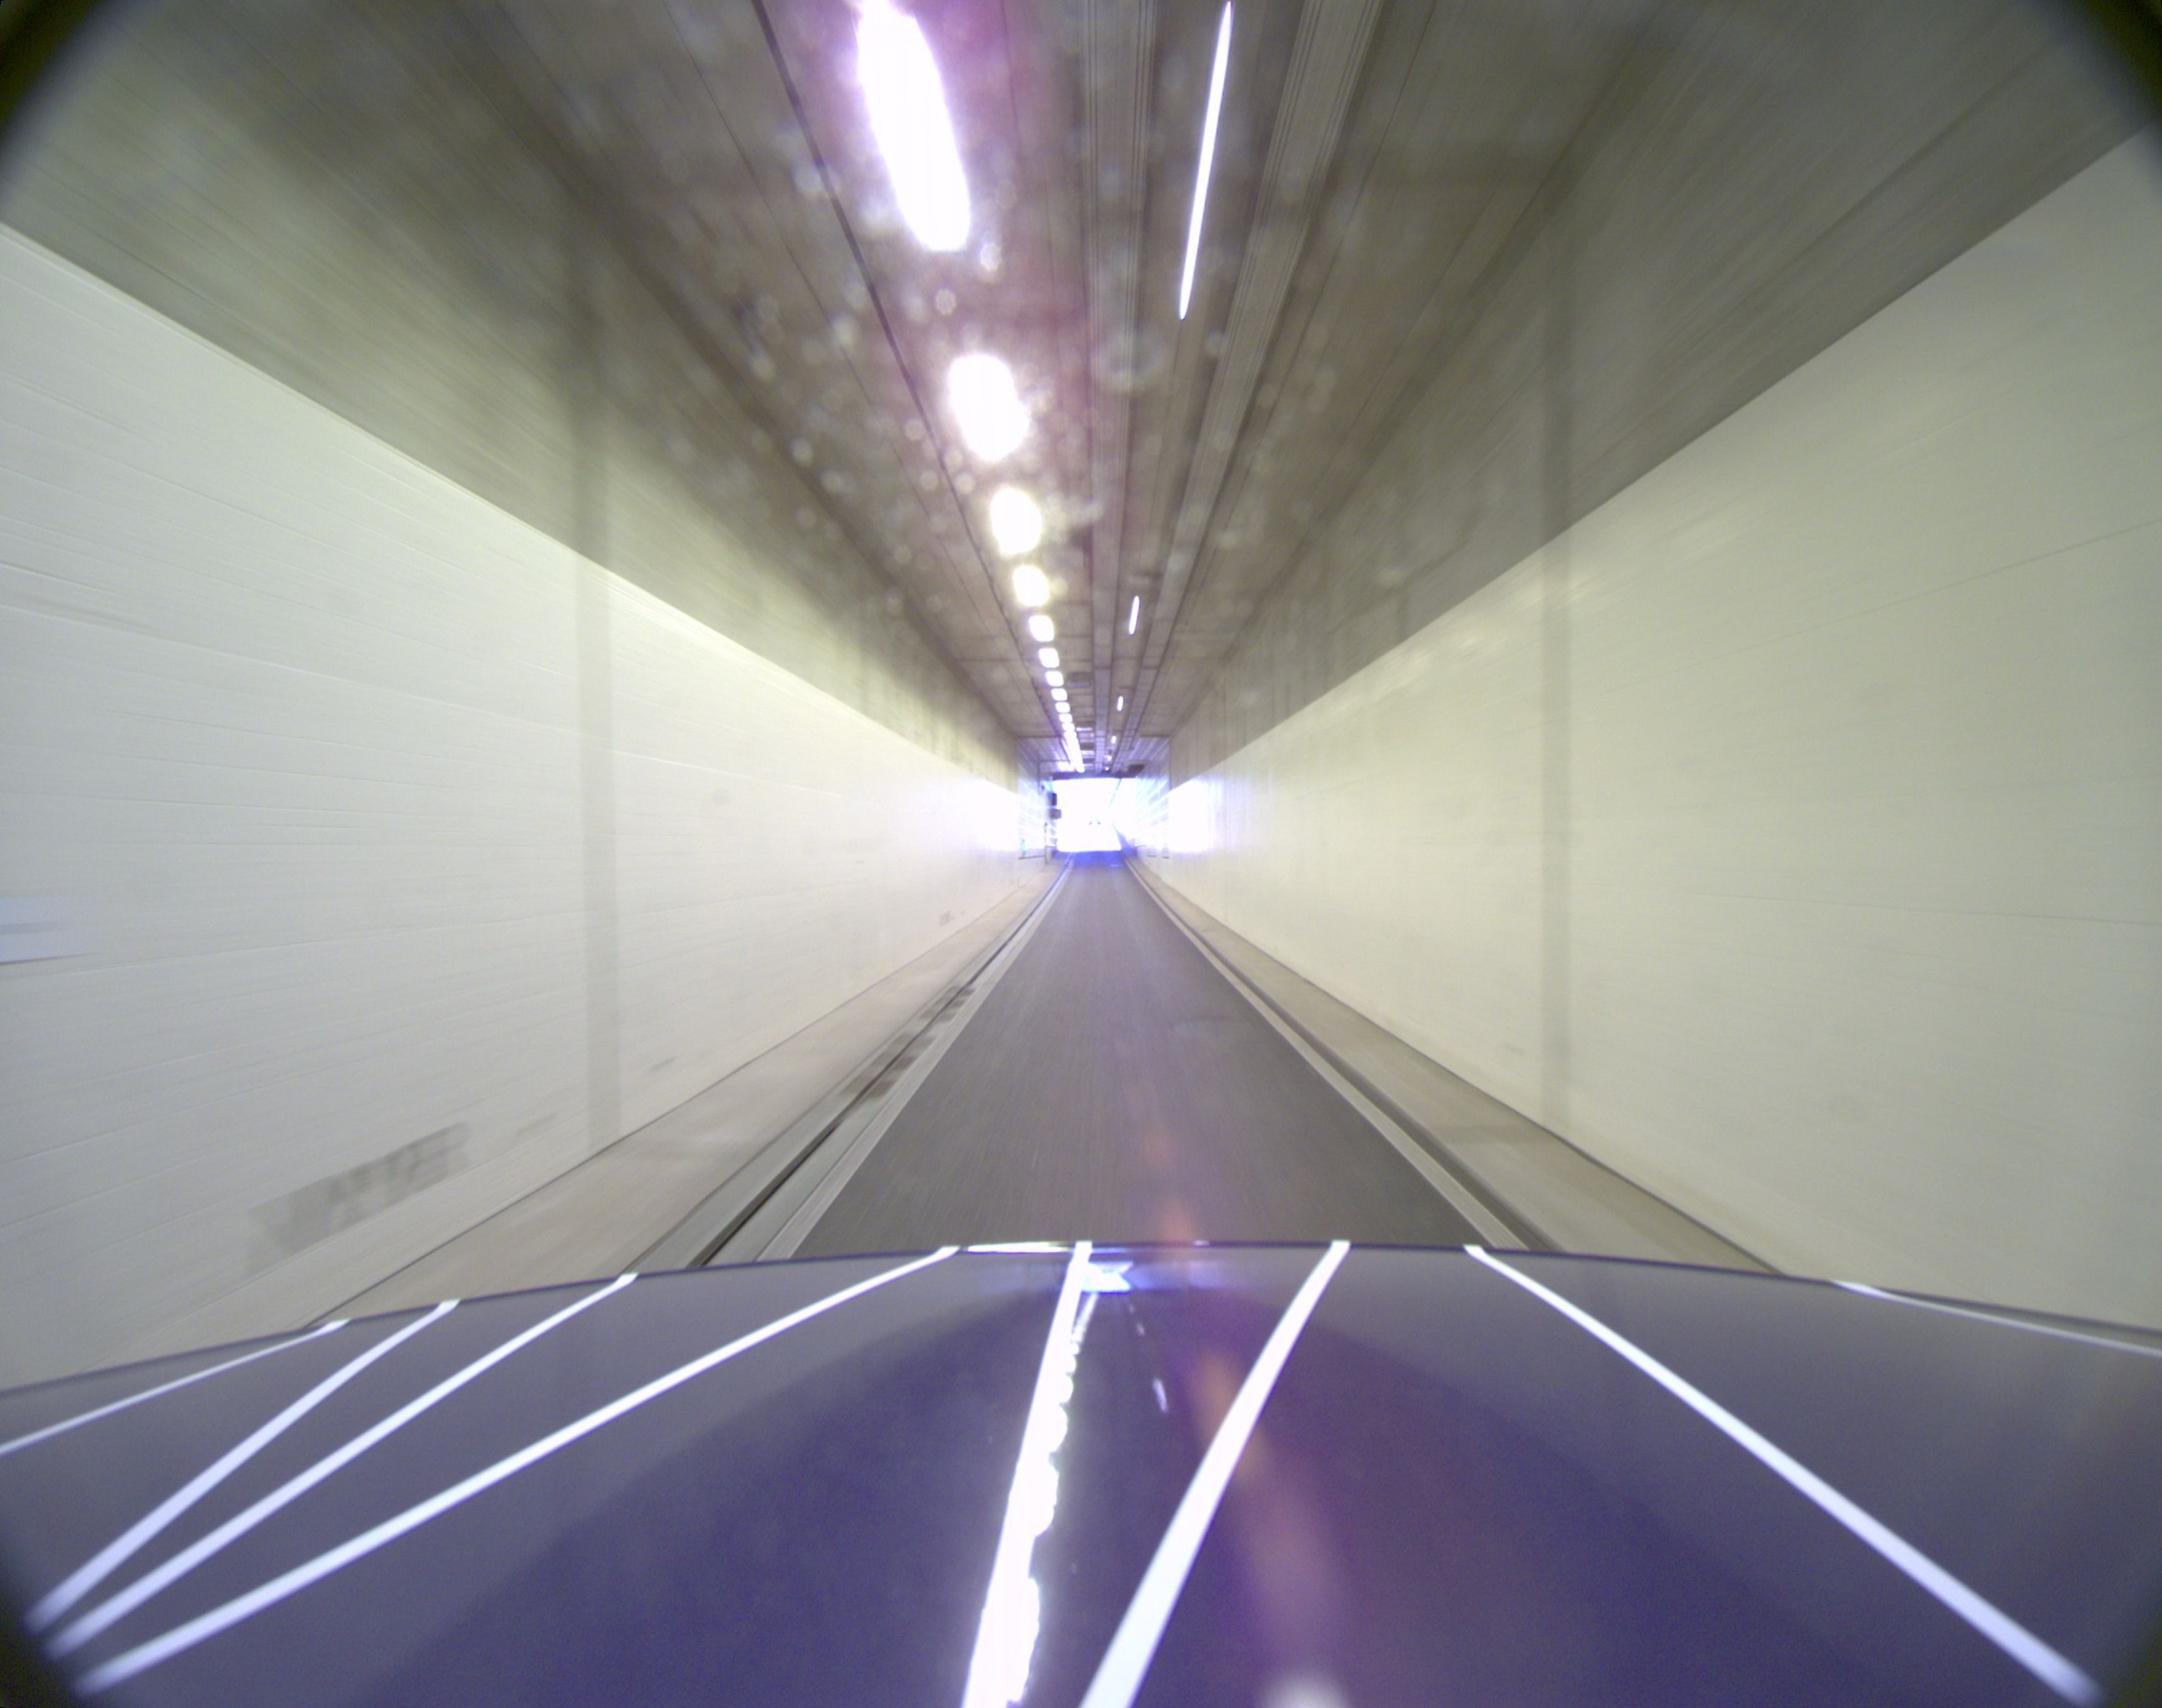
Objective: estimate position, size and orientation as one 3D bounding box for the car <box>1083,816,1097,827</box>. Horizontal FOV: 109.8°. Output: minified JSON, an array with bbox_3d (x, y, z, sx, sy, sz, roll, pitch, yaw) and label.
[{"bbox_3d":[1.168,-4.230,99.813,1.829,1.328,4.000,-1,1,1],"label":"car"}]
